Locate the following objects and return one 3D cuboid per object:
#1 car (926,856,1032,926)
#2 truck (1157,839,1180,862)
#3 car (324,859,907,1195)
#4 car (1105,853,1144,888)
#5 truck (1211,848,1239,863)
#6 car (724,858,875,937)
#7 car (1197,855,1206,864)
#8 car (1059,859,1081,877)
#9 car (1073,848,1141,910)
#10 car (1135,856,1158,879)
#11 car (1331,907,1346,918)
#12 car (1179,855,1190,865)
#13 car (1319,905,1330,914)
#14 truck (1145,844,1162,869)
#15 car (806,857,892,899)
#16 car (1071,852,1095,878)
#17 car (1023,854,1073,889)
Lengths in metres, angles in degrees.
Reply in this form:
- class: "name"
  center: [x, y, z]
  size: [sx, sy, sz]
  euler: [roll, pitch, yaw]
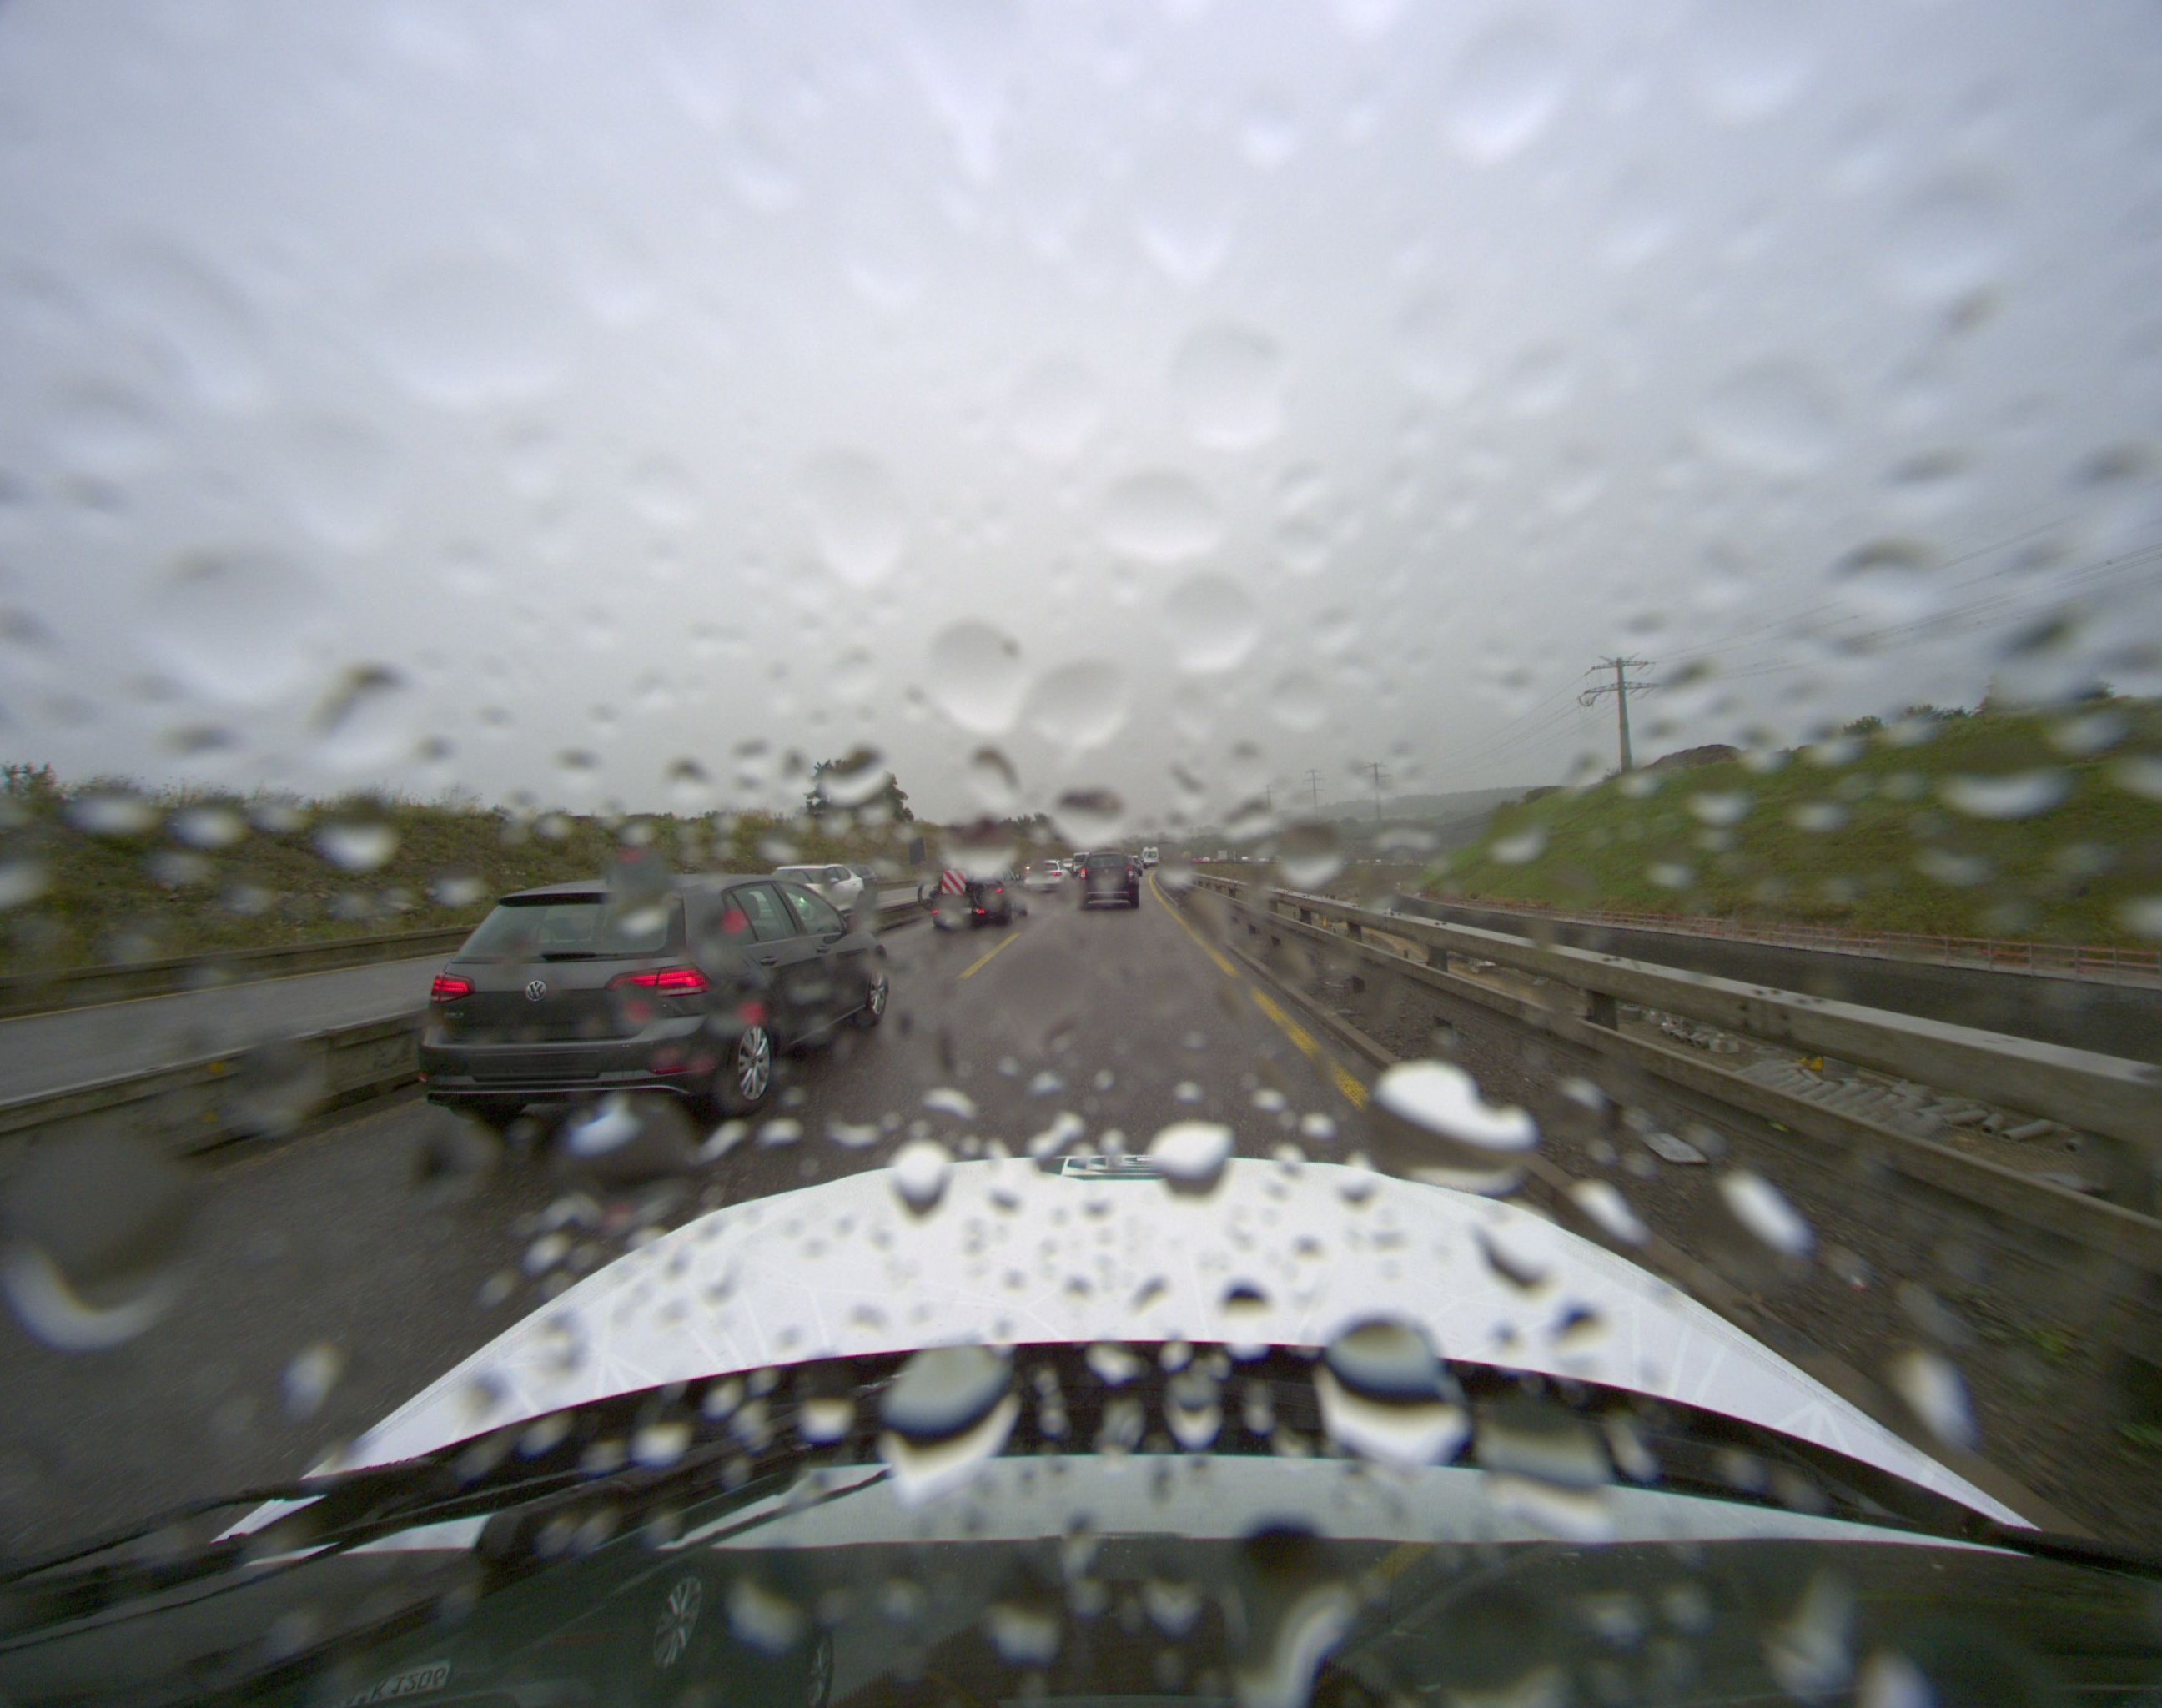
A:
- class: "car"
  center: [-2.301, 0.811, 19.337]
  size: [1.821, 1.476, 3.779]
  euler: [-1, -1, 3]
- class: "truck"
  center: [14.600, -0.502, 135.267]
  size: [3.180, 3.761, 8.535]
  euler: [0, 0, 11]
- class: "car"
  center: [-2.666, 0.831, 6.017]
  size: [1.608, 1.506, 4.370]
  euler: [-3, -1, 2]
- class: "car"
  center: [2.179, 0.813, 41.458]
  size: [1.860, 1.708, 4.002]
  euler: [0, 0, 2]
- class: "truck"
  center: [41.806, 0.343, 235.580]
  size: [4.676, 4.150, 15.768]
  euler: [0, 0, 23]
- class: "car"
  center: [-6.402, 0.917, 19.090]
  size: [1.870, 1.500, 4.337]
  euler: [0, 1, 2]
- class: "car"
  center: [25.654, 1.219, 173.534]
  size: [1.763, 1.916, 4.013]
  euler: [0, 0, 12]
- class: "car"
  center: [-1.067, 1.311, 79.334]
  size: [2.040, 1.633, 4.986]
  euler: [-1, -1, -1]
- class: "car"
  center: [0.818, 0.695, 23.940]
  size: [1.797, 1.646, 3.780]
  euler: [-1, -1, 3]
- class: "car"
  center: [4.983, 1.004, 62.152]
  size: [1.525, 1.640, 4.014]
  euler: [0, 0, 2]
- class: "car"
  center: [56.089, 12.720, 177.524]
  size: [2.352, 2.014, 4.009]
  euler: [0, 0, 8]
- class: "car"
  center: [19.367, 1.144, 152.354]
  size: [1.763, 1.916, 4.013]
  euler: [0, 0, 12]
- class: "car"
  center: [58.136, 13.266, 194.526]
  size: [1.981, 1.816, 4.011]
  euler: [-1, -1, 10]
- class: "truck"
  center: [9.559, 0.365, 108.178]
  size: [2.139, 3.166, 6.466]
  euler: [0, 0, 4]
- class: "car"
  center: [-8.788, 0.868, 31.254]
  size: [1.761, 1.443, 4.674]
  euler: [-1, 0, 2]
- class: "car"
  center: [0.200, 0.807, 59.896]
  size: [1.654, 1.880, 4.021]
  euler: [0, 0, 1]
- class: "car"
  center: [-1.425, 0.742, 36.738]
  size: [1.860, 1.460, 4.551]
  euler: [0, 0, 3]
